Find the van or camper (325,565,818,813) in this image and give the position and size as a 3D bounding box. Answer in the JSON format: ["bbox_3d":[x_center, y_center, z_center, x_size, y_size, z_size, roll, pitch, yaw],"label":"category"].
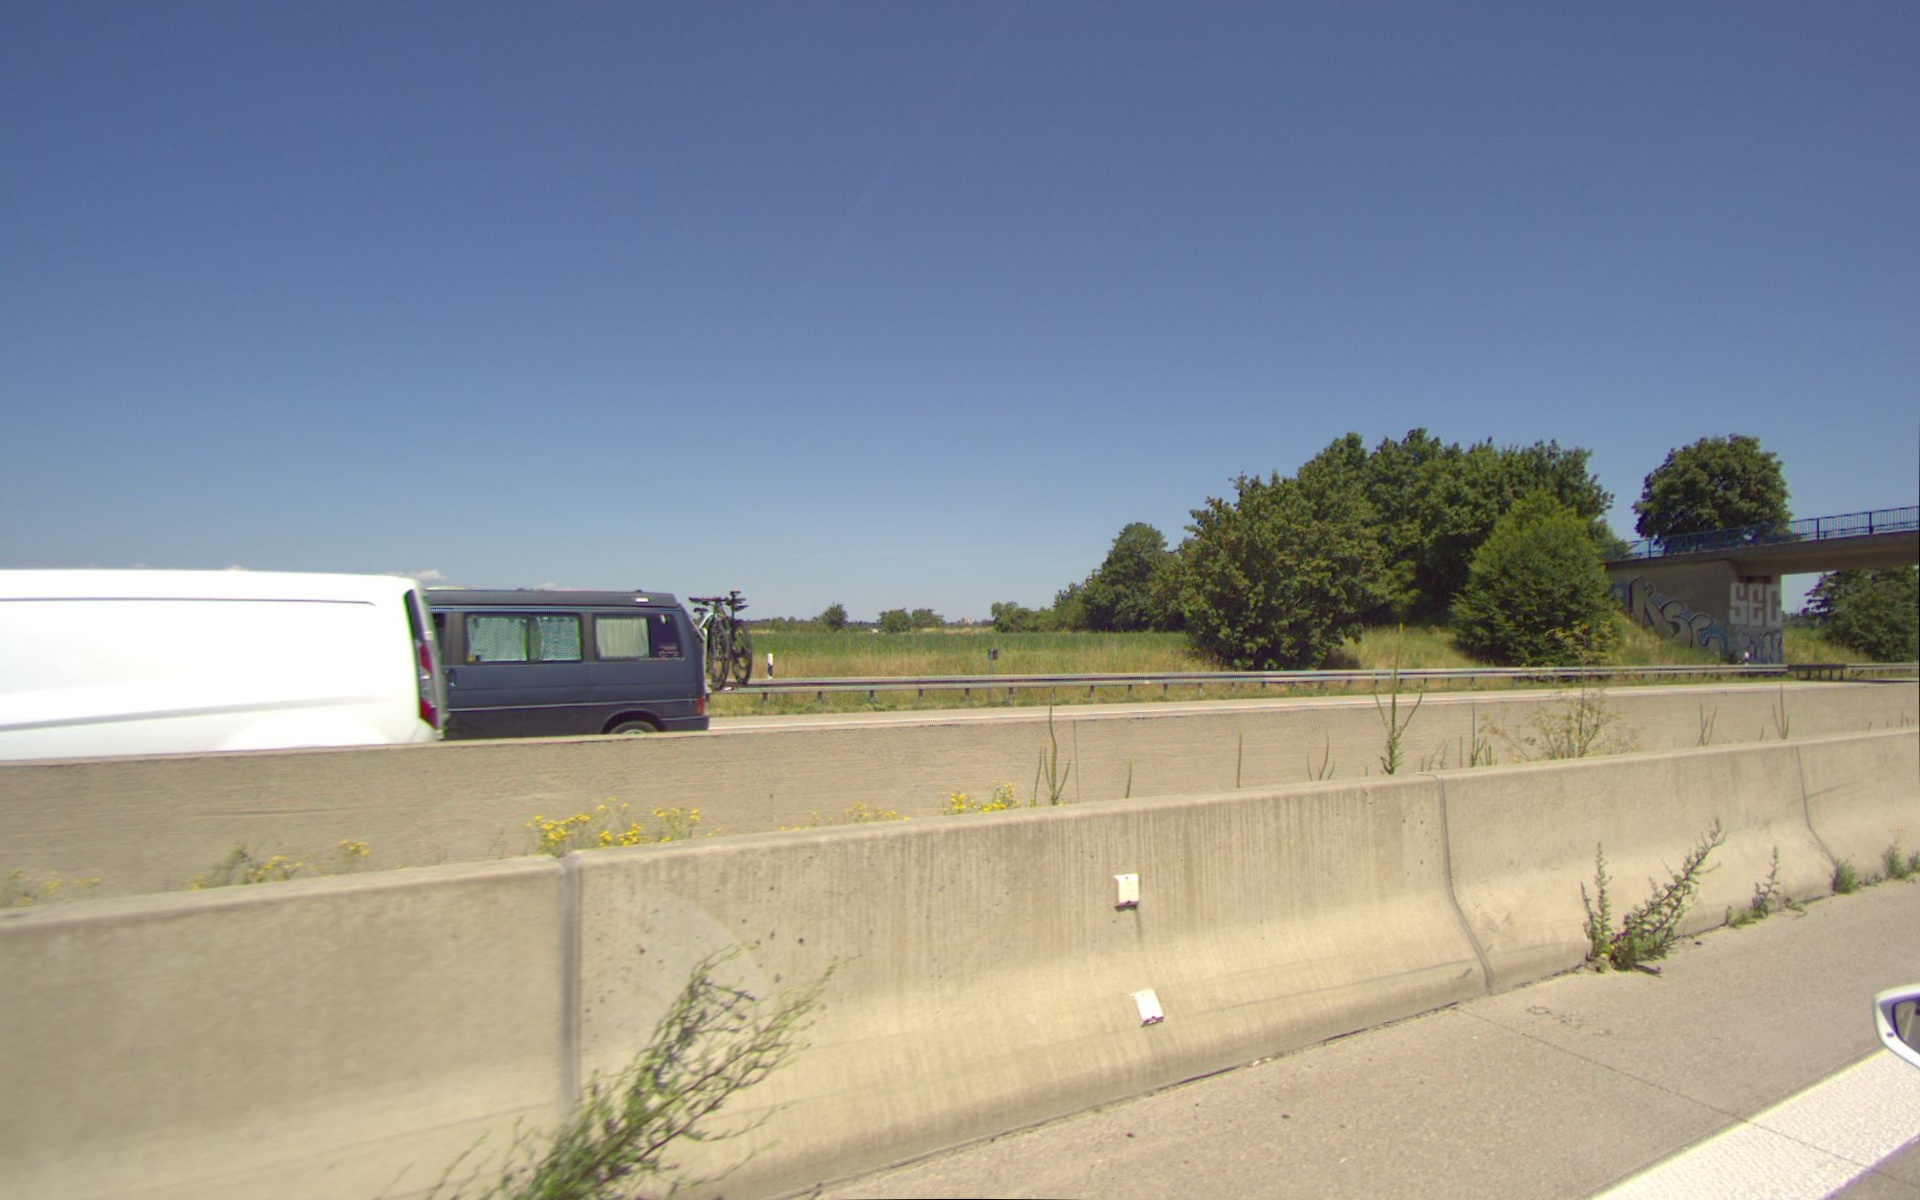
[{"bbox_3d":[-4.176,0.868,11.175,4.740,2.249,1.928,2,0,-30],"label":"van or camper"}]

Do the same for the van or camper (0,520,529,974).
[{"bbox_3d":[-6.016,0.725,5.639,6.394,2.328,1.984,2,0,-30],"label":"van or camper"}]
